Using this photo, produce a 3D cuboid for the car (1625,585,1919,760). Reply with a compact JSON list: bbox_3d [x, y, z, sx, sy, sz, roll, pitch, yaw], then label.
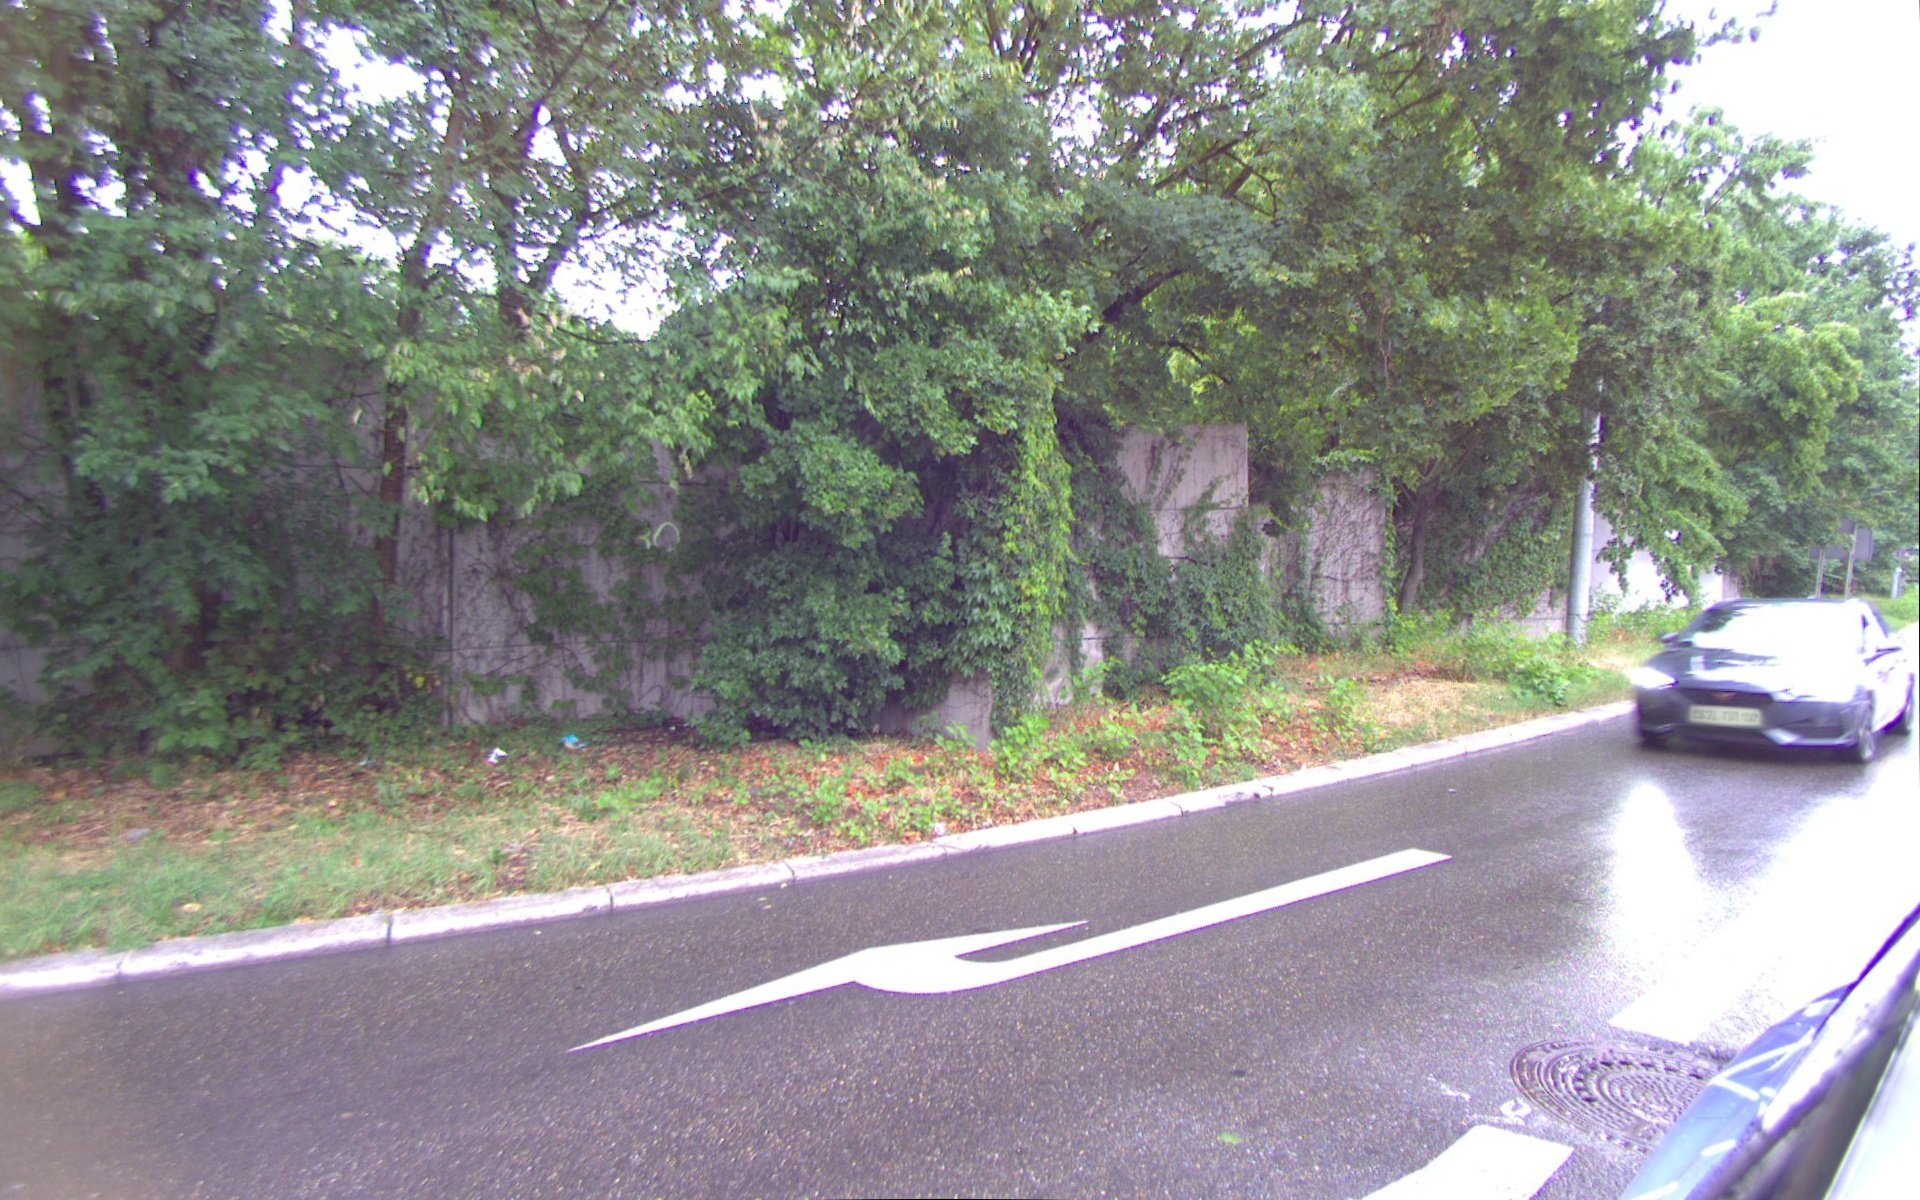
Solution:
[{"bbox_3d":[8.514,0.615,10.306,4.335,1.421,1.751,1,-1,-40],"label":"car"}]
